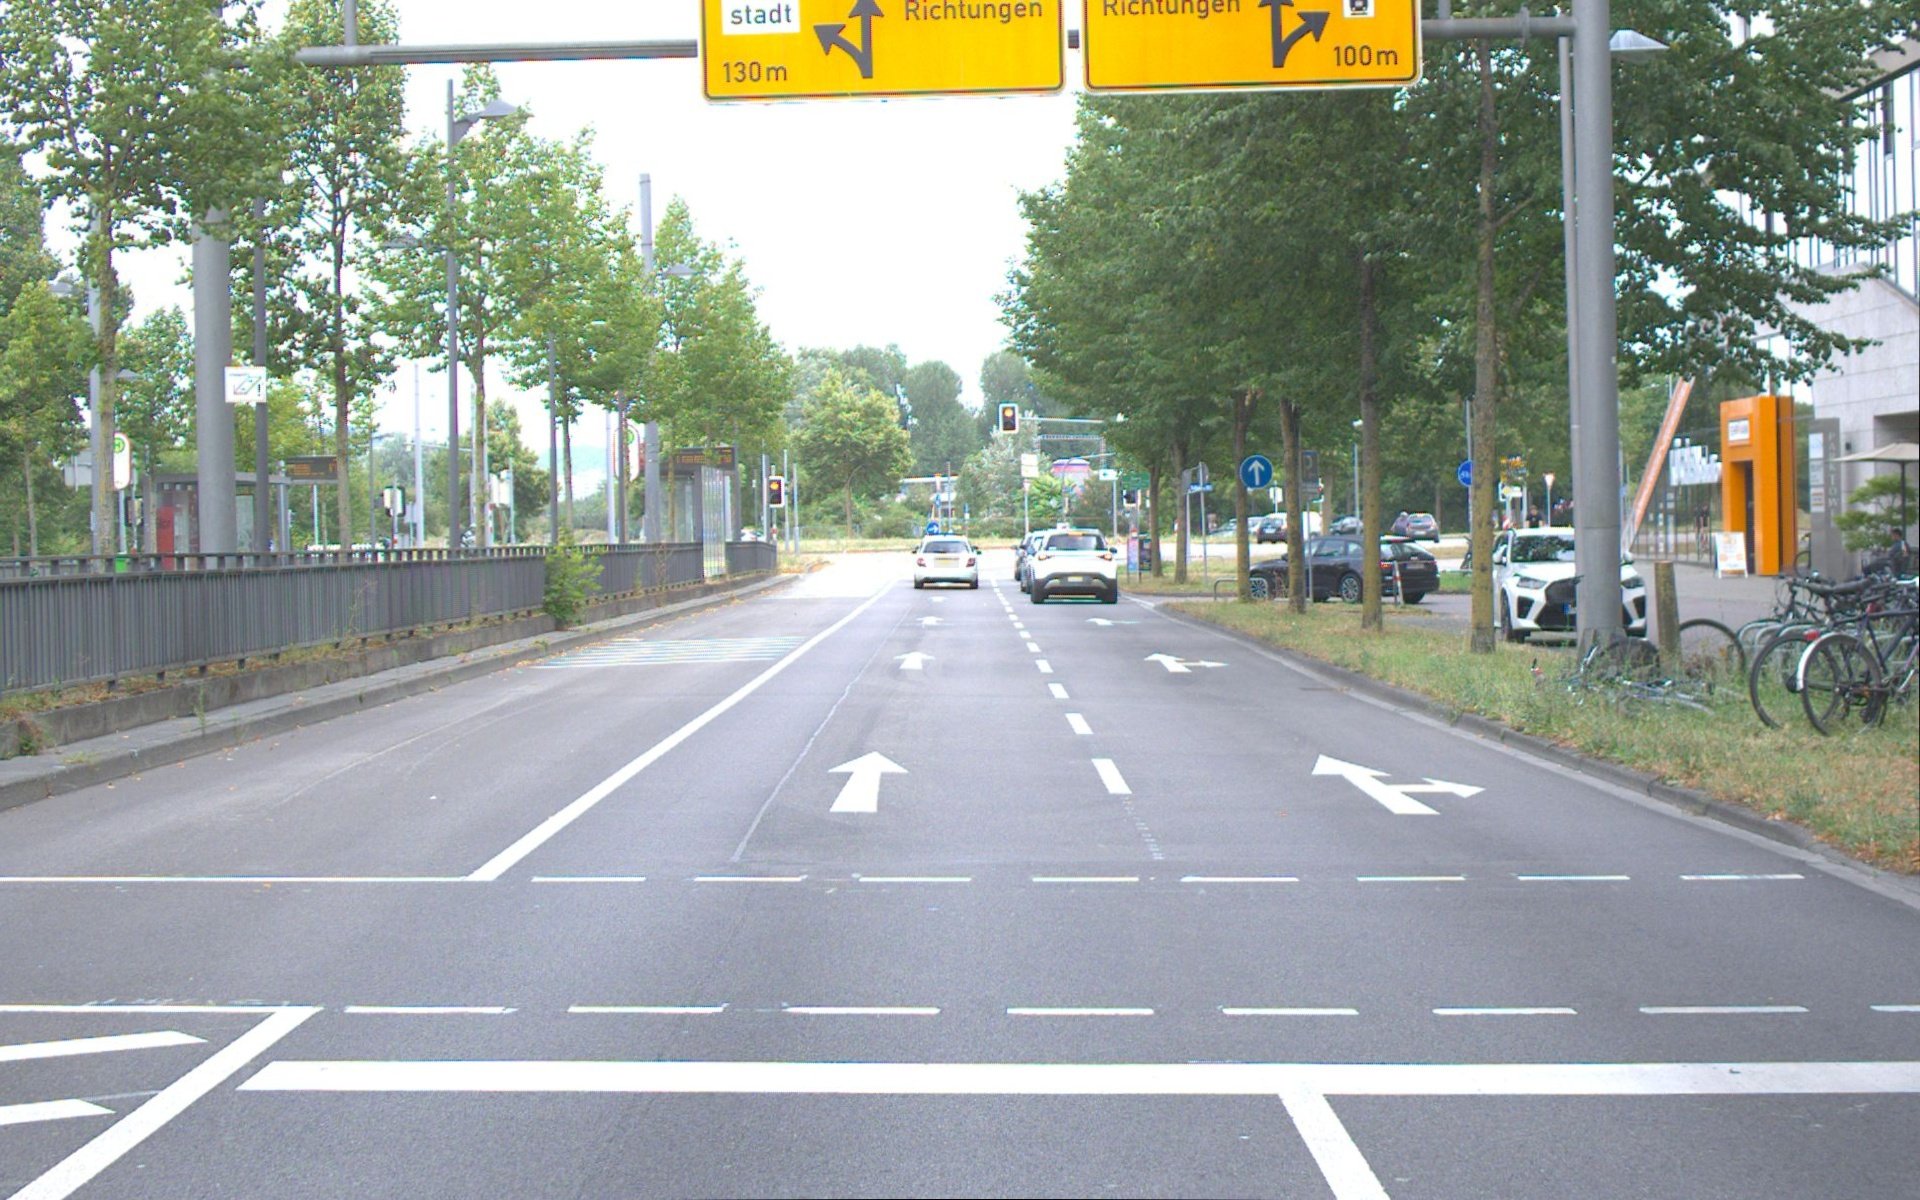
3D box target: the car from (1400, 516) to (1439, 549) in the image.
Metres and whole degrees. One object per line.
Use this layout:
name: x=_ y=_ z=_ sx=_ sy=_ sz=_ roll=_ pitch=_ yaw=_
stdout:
car: x=23.247 y=-3.430 z=173.848 sx=1.784 sy=1.630 sz=4.400 roll=-1 pitch=1 yaw=10

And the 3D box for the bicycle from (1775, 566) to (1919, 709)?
bicycle: x=7.480 y=0.307 z=27.041 sx=1.929 sy=1.061 sz=0.642 roll=2 pitch=1 yaw=-3

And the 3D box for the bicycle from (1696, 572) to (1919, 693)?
bicycle: x=7.578 y=0.285 z=30.650 sx=1.860 sy=0.991 sz=0.574 roll=2 pitch=1 yaw=-3

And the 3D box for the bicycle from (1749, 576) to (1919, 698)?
bicycle: x=7.564 y=0.313 z=28.493 sx=1.860 sy=0.948 sz=0.613 roll=2 pitch=1 yaw=-3

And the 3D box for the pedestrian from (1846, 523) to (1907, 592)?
pedestrian: x=16.684 y=-0.783 z=62.613 sx=0.898 sy=1.224 sz=0.950 roll=-1 pitch=1 yaw=5

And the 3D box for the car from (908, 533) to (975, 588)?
car: x=-0.531 y=-1.108 z=95.170 sx=1.773 sy=1.443 sz=3.911 roll=-1 pitch=1 yaw=-1

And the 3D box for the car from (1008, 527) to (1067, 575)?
car: x=2.374 y=-1.533 z=106.252 sx=1.624 sy=1.443 sz=3.911 roll=0 pitch=1 yaw=-1

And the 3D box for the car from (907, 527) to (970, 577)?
car: x=-0.668 y=-1.462 z=103.689 sx=1.773 sy=1.443 sz=3.911 roll=-1 pitch=1 yaw=-1

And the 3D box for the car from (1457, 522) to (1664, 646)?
car: x=8.040 y=-0.253 z=46.420 sx=1.938 sy=1.546 sz=4.594 roll=-1 pitch=1 yaw=-1

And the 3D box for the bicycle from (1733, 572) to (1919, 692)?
bicycle: x=7.598 y=0.273 z=29.234 sx=1.860 sy=0.948 sz=0.653 roll=2 pitch=1 yaw=-3

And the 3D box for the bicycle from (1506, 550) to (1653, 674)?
bicycle: x=5.998 y=0.098 z=33.403 sx=0.709 sy=1.111 sz=2.204 roll=2 pitch=1 yaw=-8

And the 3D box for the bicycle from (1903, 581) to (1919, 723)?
bicycle: x=7.451 y=0.390 z=23.618 sx=1.743 sy=0.971 sz=0.609 roll=2 pitch=1 yaw=-8

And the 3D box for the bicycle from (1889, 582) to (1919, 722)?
bicycle: x=7.584 y=0.398 z=24.465 sx=1.743 sy=0.971 sz=0.609 roll=2 pitch=1 yaw=-8

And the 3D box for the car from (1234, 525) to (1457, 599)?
car: x=8.071 y=-0.794 z=72.408 sx=1.941 sy=1.470 sz=4.870 roll=-2 pitch=1 yaw=-34

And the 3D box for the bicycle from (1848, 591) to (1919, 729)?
bicycle: x=7.455 y=0.456 z=25.087 sx=1.743 sy=0.971 sz=0.609 roll=2 pitch=1 yaw=-8

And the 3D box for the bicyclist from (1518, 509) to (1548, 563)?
bicyclist: x=17.088 y=-1.907 z=102.503 sx=0.724 sy=1.577 sz=0.990 roll=-1 pitch=1 yaw=1

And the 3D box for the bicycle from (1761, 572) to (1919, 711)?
bicycle: x=7.552 y=0.343 z=27.802 sx=1.929 sy=1.061 sz=0.705 roll=2 pitch=1 yaw=-3

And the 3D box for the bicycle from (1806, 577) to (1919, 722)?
bicycle: x=7.523 y=0.395 z=26.312 sx=1.929 sy=1.061 sz=0.544 roll=2 pitch=1 yaw=-8

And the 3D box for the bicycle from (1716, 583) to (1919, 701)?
bicycle: x=7.602 y=0.366 z=29.985 sx=1.860 sy=0.948 sz=0.501 roll=2 pitch=1 yaw=-3

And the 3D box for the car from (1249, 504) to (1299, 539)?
car: x=16.372 y=-4.094 z=179.484 sx=1.993 sy=1.784 sz=4.001 roll=1 pitch=1 yaw=-3

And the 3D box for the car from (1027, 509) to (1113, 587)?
car: x=2.408 y=-1.168 z=75.891 sx=1.779 sy=1.651 sz=4.023 roll=-1 pitch=1 yaw=0

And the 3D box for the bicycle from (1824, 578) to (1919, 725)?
bicycle: x=7.513 y=0.404 z=25.732 sx=1.929 sy=1.061 sz=0.544 roll=2 pitch=1 yaw=-8

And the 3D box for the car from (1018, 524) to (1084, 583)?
car: x=2.582 y=-1.345 z=98.589 sx=1.787 sy=1.619 sz=3.910 roll=-1 pitch=1 yaw=1
